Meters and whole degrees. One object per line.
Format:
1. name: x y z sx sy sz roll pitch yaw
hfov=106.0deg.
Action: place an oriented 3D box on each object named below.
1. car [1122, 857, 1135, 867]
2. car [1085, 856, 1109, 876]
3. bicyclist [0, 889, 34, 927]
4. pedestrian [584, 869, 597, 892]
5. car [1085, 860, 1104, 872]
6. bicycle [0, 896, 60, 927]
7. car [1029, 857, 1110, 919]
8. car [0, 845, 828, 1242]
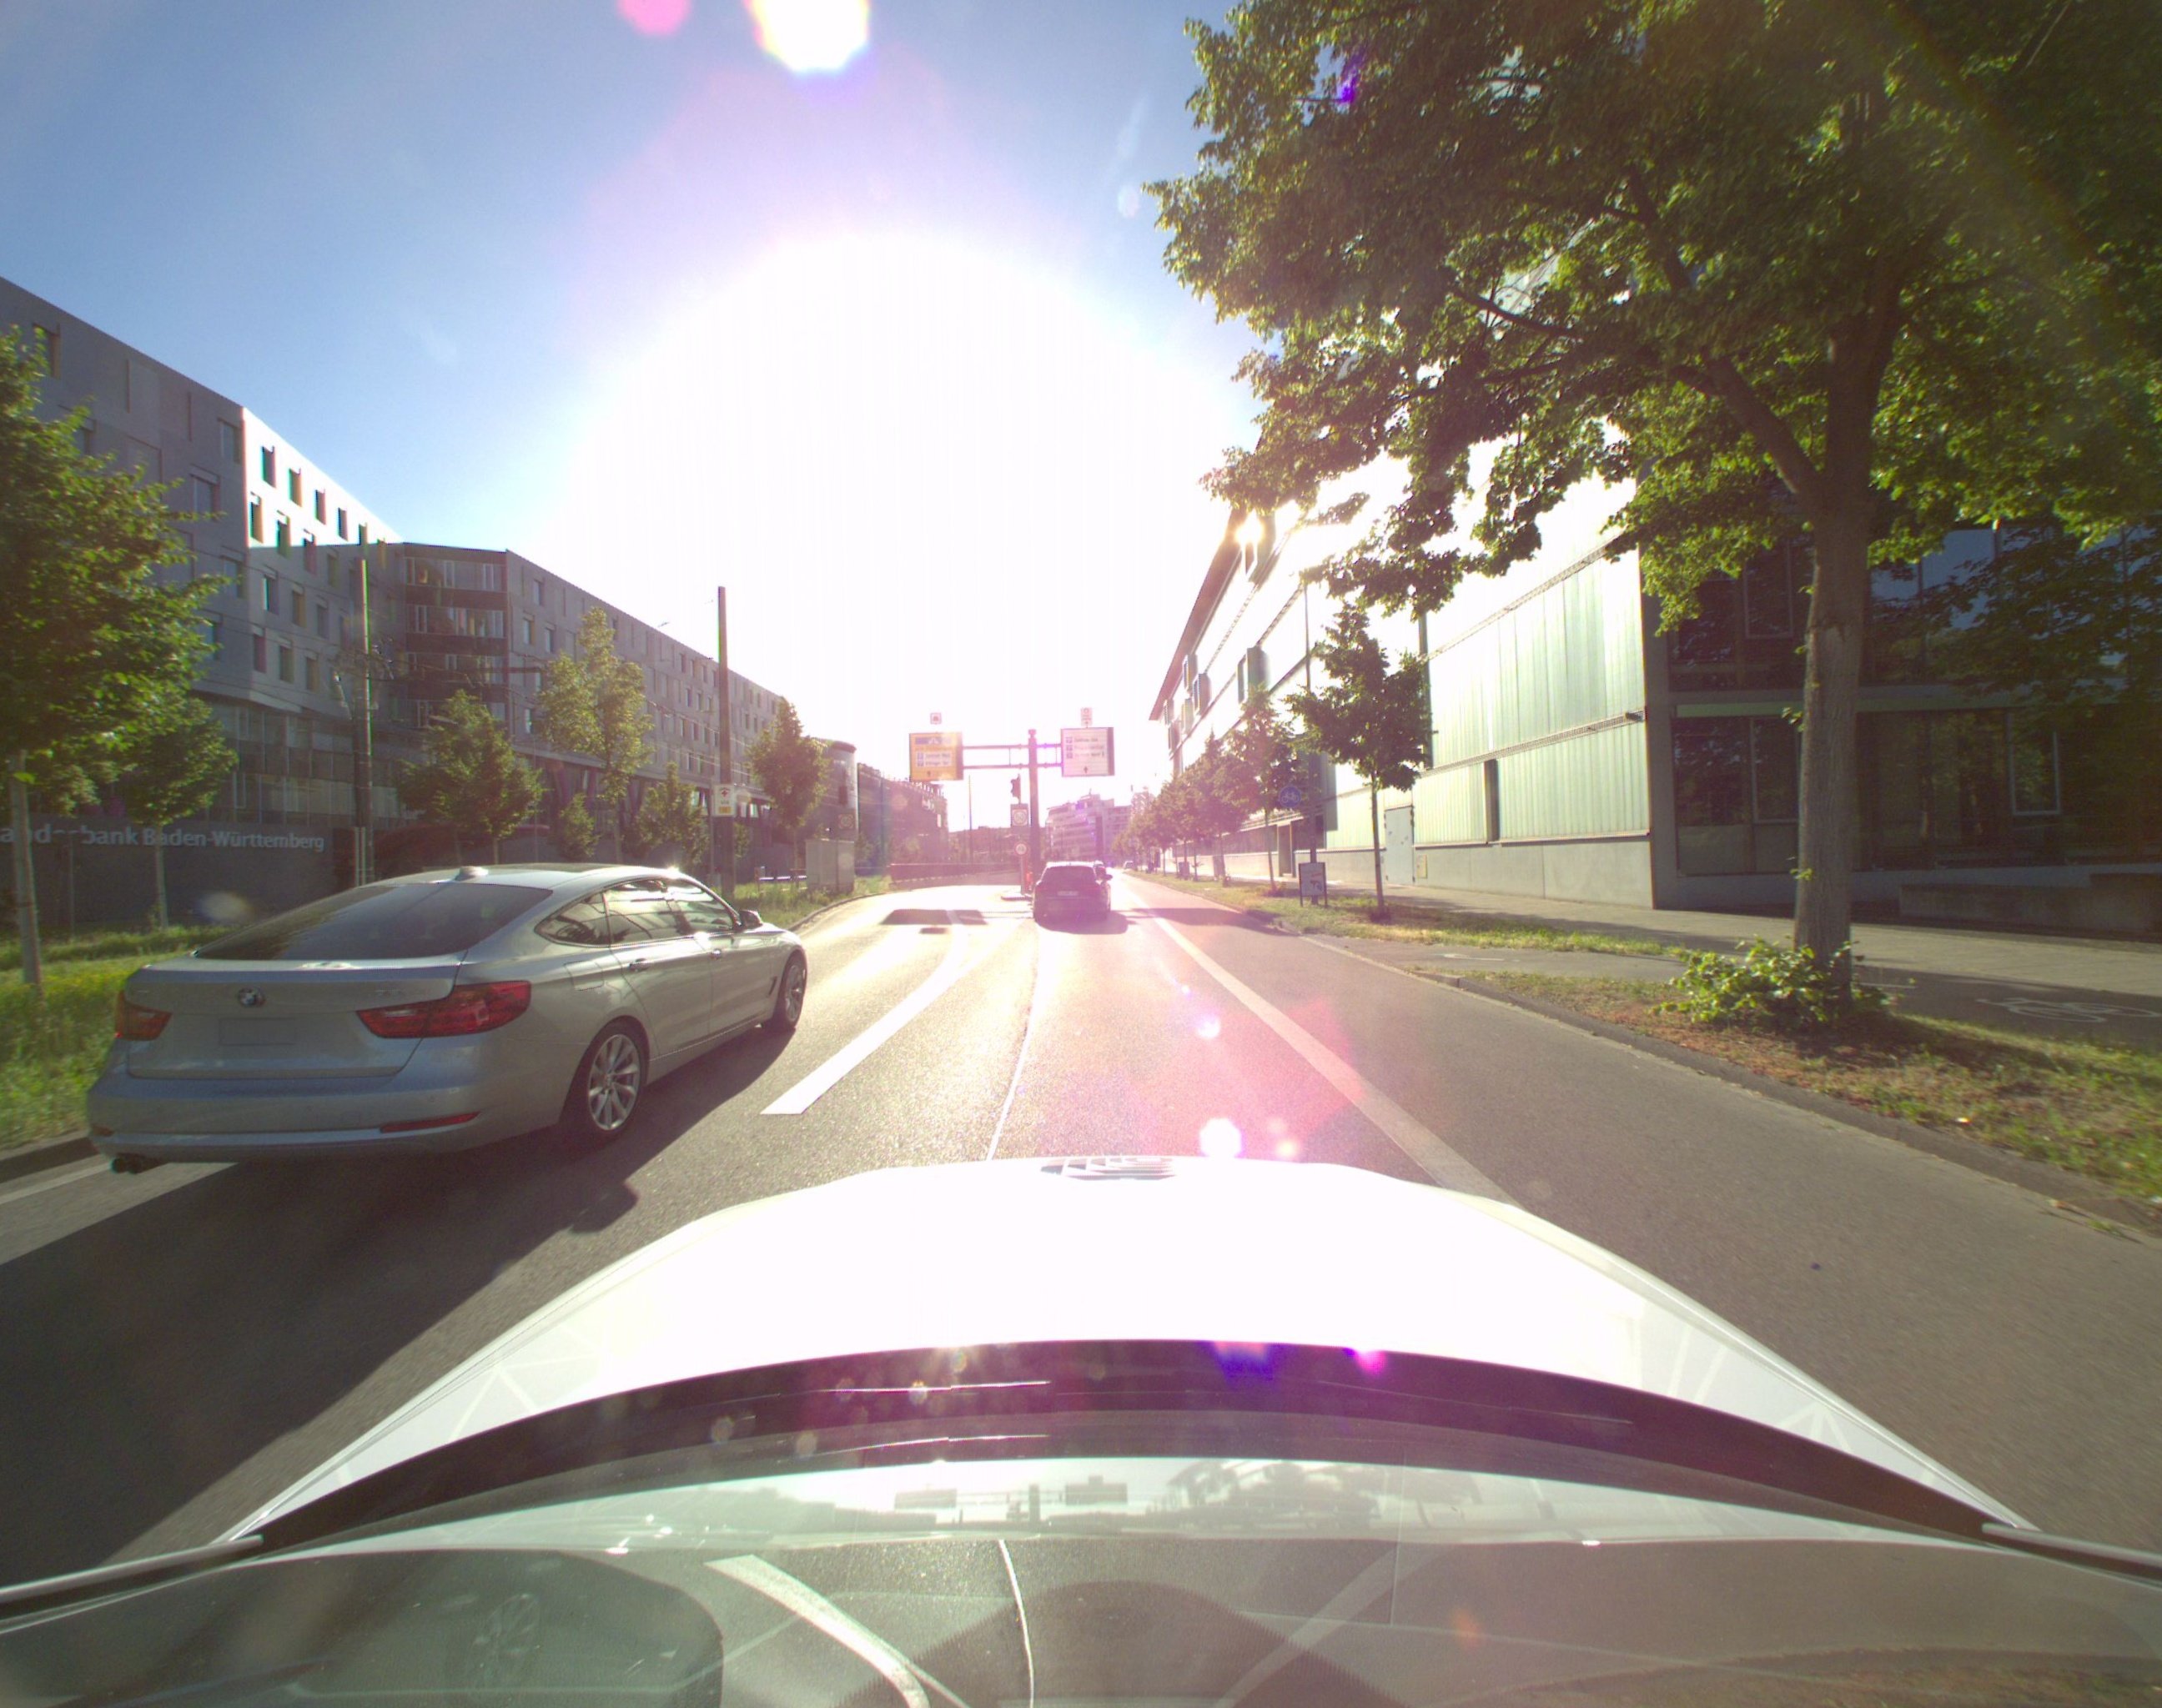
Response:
1. car: 8.449 1.421 144.533 1.847 1.481 4.853 -3 0 0
2. car: 1.308 0.982 66.801 1.846 1.546 4.001 0 0 1
3. bicyclist: -44.066 2.222 33.648 0.556 1.496 0.763 -2 0 1
4. pedestrian: -44.073 2.365 73.185 0.733 2.014 0.689 -2 -1 1
5. car: 1.675 1.527 103.426 1.991 1.465 3.991 -1 0 -6
6. bicycle: -43.688 2.376 33.645 0.518 1.172 1.976 -2 0 1
7. car: -0.192 0.825 21.626 1.805 1.427 4.693 -2 -1 3
8. car: -3.382 0.740 5.613 1.793 1.527 4.908 0 0 -1
